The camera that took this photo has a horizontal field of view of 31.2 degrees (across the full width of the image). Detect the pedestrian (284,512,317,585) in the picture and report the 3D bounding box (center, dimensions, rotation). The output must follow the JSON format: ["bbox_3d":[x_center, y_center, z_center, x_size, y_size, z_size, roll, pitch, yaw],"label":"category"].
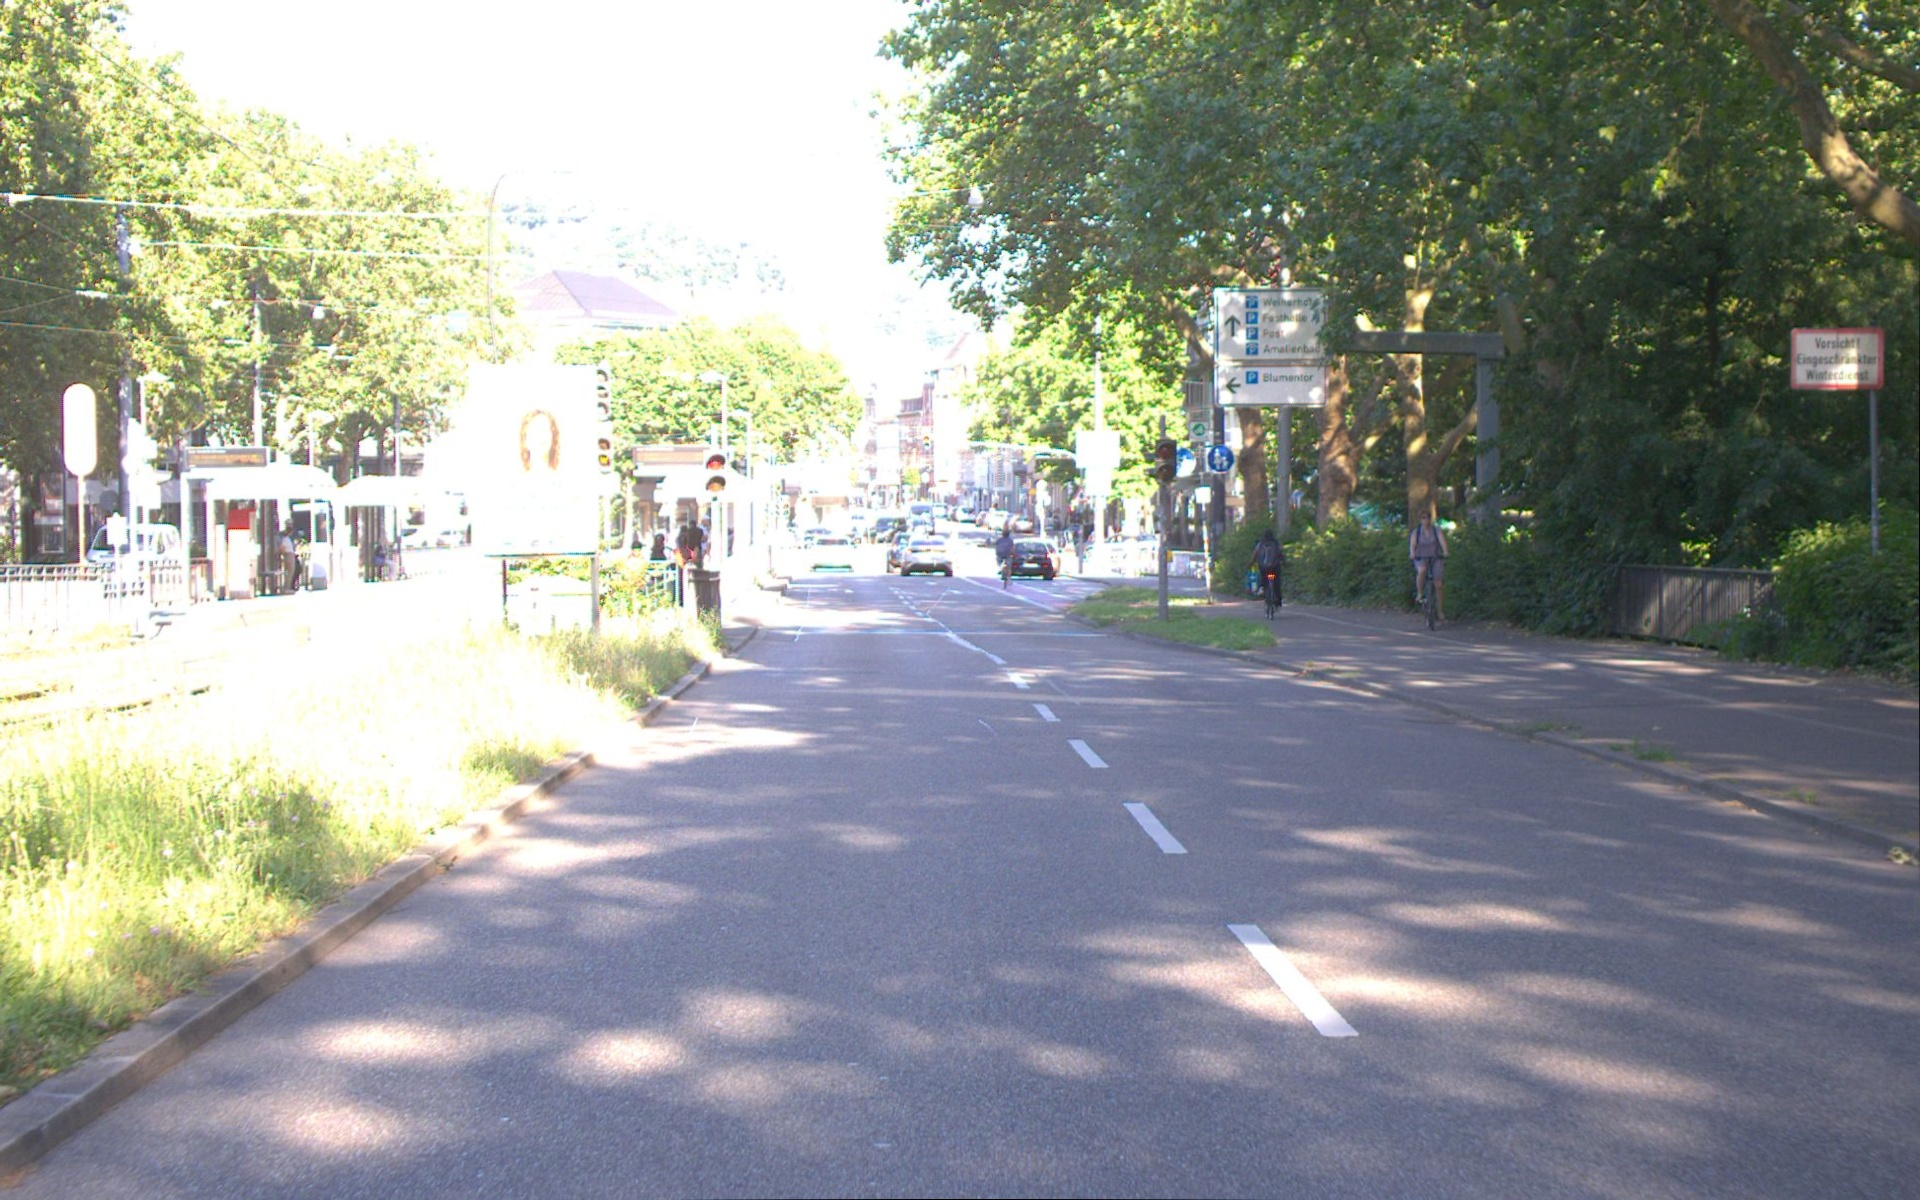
[{"bbox_3d":[-16.286,-1.272,84.867,0.648,1.766,0.650,1,0,0],"label":"pedestrian"}]

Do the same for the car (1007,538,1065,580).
[{"bbox_3d":[2.717,-1.496,123.959,1.800,1.434,4.046,1,1,-3],"label":"car"}]

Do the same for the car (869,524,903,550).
[{"bbox_3d":[-5.305,-4.540,246.194,1.795,1.820,3.999,0,1,8],"label":"car"}]

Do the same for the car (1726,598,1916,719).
[{"bbox_3d":[14.040,0.927,56.306,1.903,1.806,4.100,1,1,-2],"label":"car"}]

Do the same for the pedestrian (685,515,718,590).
[{"bbox_3d":[-6.423,-1.182,85.440,0.651,1.835,0.710,1,1,8],"label":"pedestrian"}]

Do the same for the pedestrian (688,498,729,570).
[{"bbox_3d":[-6.076,-1.596,83.085,0.651,1.716,0.710,1,1,-38],"label":"pedestrian"}]

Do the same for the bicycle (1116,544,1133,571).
[{"bbox_3d":[6.665,-1.720,139.517,0.498,1.071,1.800,1,0,-3],"label":"bicycle"}]

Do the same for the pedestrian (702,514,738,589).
[{"bbox_3d":[-5.465,-1.105,78.275,0.742,1.688,0.791,1,1,-2],"label":"pedestrian"}]

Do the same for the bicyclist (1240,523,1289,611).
[{"bbox_3d":[5.294,-0.577,59.806,0.766,1.507,0.650,0,1,-3],"label":"bicyclist"}]

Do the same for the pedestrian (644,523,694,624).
[{"bbox_3d":[-4.570,-0.420,54.004,0.520,1.563,0.507,-2,1,28],"label":"pedestrian"}]

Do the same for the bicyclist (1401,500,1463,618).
[{"bbox_3d":[6.998,-0.616,50.994,0.699,1.722,1.080,0,1,-4],"label":"bicyclist"}]

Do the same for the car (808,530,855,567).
[{"bbox_3d":[-5.172,-2.080,137.724,1.808,1.447,4.001,1,1,-3],"label":"car"}]

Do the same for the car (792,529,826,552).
[{"bbox_3d":[-10.102,-3.969,230.538,1.794,1.505,3.999,0,1,5],"label":"car"}]

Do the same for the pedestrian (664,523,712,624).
[{"bbox_3d":[-4.306,-0.419,54.419,0.520,1.563,0.507,-2,1,28],"label":"pedestrian"}]

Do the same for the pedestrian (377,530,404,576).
[{"bbox_3d":[-16.682,-1.371,100.737,0.669,1.320,0.757,-3,1,-4],"label":"pedestrian"}]

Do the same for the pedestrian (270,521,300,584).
[{"bbox_3d":[-16.521,-1.157,84.154,0.592,1.538,0.627,1,0,-2],"label":"pedestrian"}]

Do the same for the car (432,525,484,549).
[{"bbox_3d":[-31.779,-3.985,217.681,1.795,1.505,4.007,0,1,16],"label":"car"}]

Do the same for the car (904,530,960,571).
[{"bbox_3d":[-1.078,-1.862,128.789,1.929,1.467,4.855,0,1,-2],"label":"car"}]

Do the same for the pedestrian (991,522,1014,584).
[{"bbox_3d":[1.276,-1.432,103.597,0.657,1.864,0.678,0,1,-3],"label":"pedestrian"}]

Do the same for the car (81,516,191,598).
[{"bbox_3d":[-22.563,-1.176,94.321,2.067,2.117,5.091,-2,1,-4],"label":"car"}]

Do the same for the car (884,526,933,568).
[{"bbox_3d":[-2.060,-2.113,136.133,1.800,1.632,4.046,0,1,-3],"label":"car"}]

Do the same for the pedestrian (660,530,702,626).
[{"bbox_3d":[-4.469,-0.352,55.119,0.589,1.514,0.514,-2,1,-2],"label":"pedestrian"}]

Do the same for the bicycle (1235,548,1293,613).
[{"bbox_3d":[5.291,-0.346,59.889,0.766,1.104,1.800,0,1,-3],"label":"bicycle"}]

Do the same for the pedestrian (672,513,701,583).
[{"bbox_3d":[-6.205,-1.189,78.086,0.588,1.561,0.650,1,1,-2],"label":"pedestrian"}]

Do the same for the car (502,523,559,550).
[{"bbox_3d":[-26.842,-3.984,215.119,1.923,1.643,4.177,0,1,18],"label":"car"}]

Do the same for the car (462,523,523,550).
[{"bbox_3d":[-29.328,-3.989,215.744,1.797,1.643,4.004,1,1,27],"label":"car"}]

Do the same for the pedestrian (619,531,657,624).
[{"bbox_3d":[-5.222,-0.367,55.723,0.520,1.467,0.514,-2,1,-1],"label":"pedestrian"}]

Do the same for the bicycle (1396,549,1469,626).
[{"bbox_3d":[6.996,-0.191,50.997,0.699,1.104,1.930,0,1,-4],"label":"bicycle"}]

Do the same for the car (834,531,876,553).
[{"bbox_3d":[-7.270,-4.039,238.697,1.795,1.505,3.997,0,1,17],"label":"car"}]
